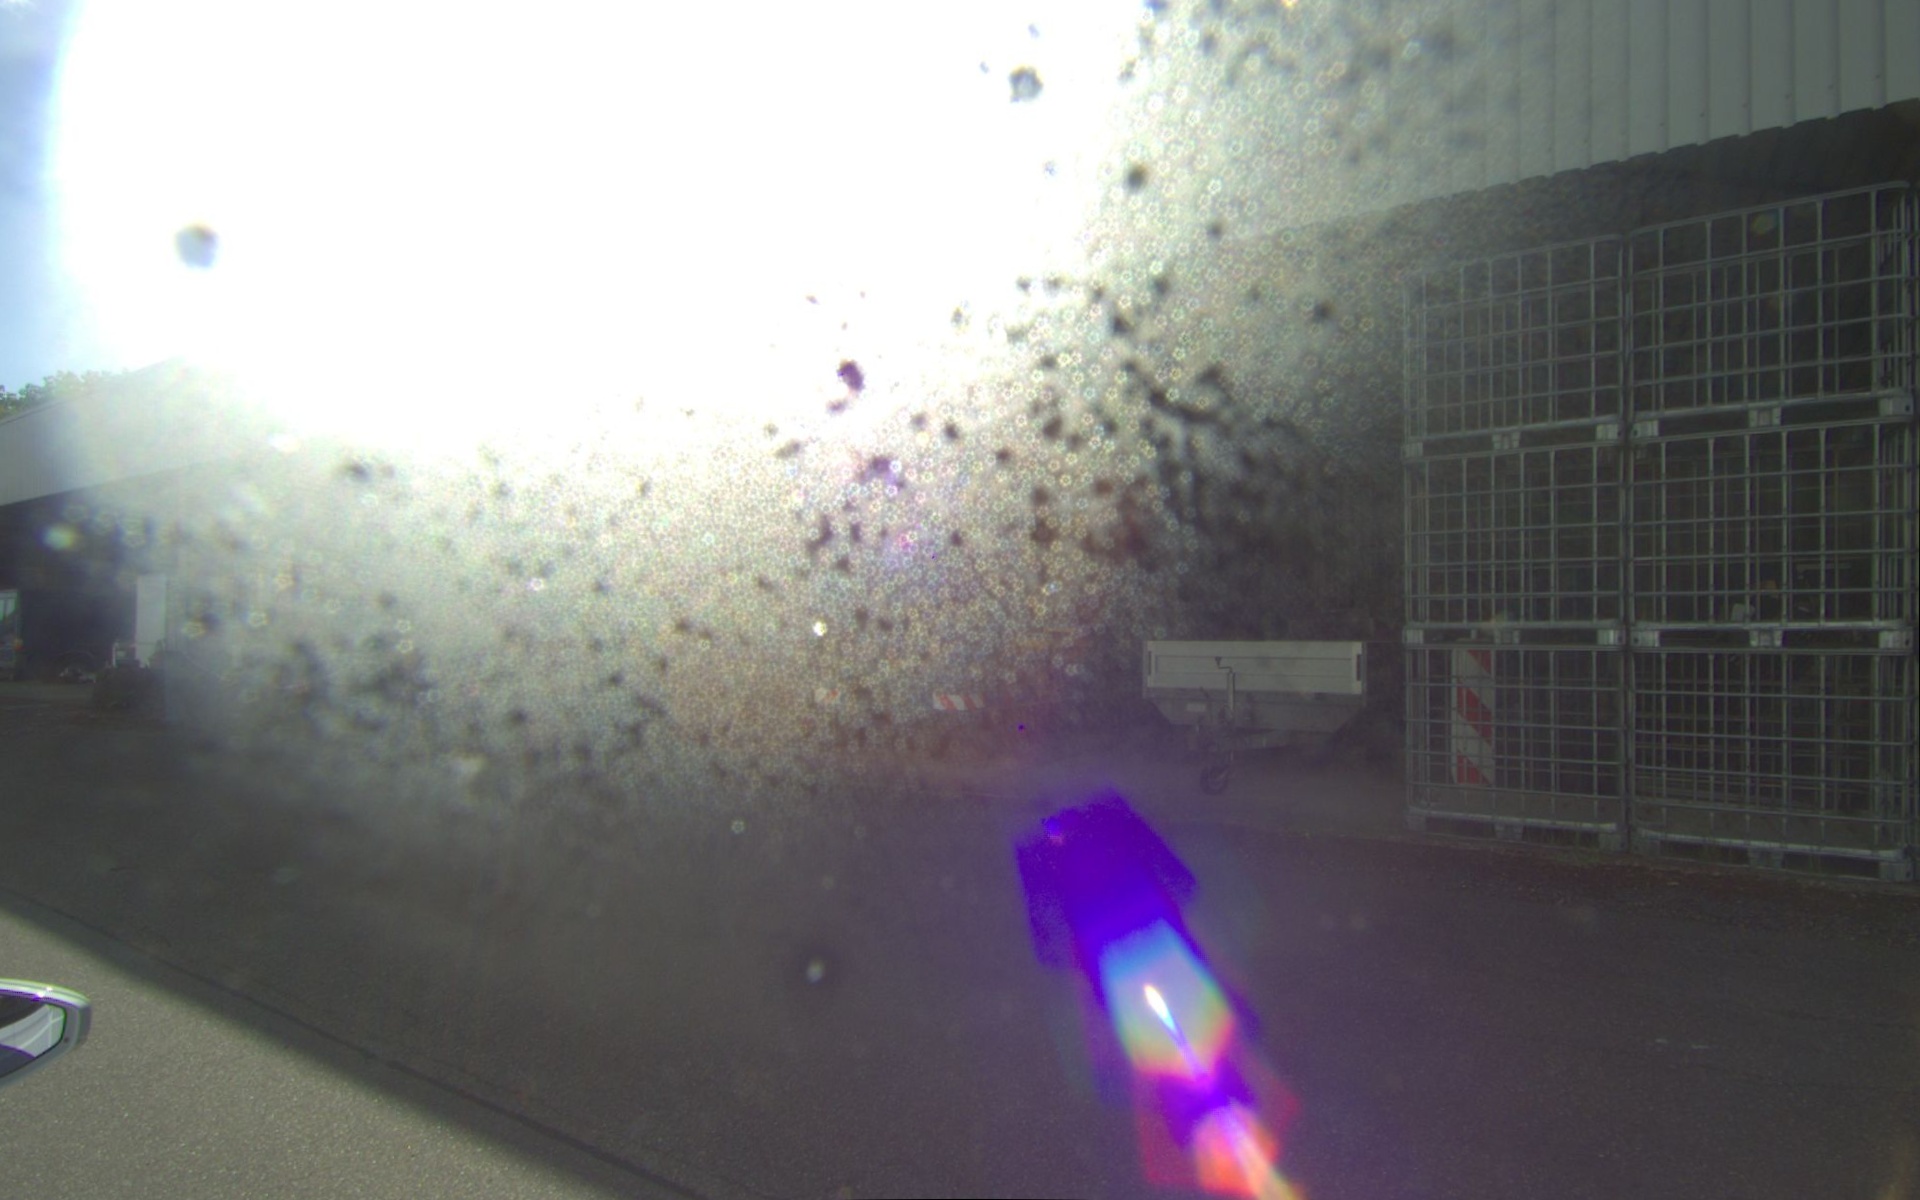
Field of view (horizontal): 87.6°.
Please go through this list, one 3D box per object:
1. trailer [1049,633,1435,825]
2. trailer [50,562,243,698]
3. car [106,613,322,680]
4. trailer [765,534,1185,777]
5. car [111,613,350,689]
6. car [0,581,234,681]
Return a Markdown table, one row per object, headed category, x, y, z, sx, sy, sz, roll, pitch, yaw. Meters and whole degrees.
| category | x | y | z | sx | sy | sz | roll | pitch | yaw |
| --- | --- | --- | --- | --- | --- | --- | --- | --- | --- |
| trailer | 3.044 | 0.927 | 9.469 | 2.110 | 1.148 | 5.839 | -1 | -1 | 30 |
| trailer | -15.711 | 0.599 | 19.411 | 1.703 | 2.429 | 2.518 | -2 | -2 | 33 |
| car | -18.659 | 1.212 | 25.231 | 1.662 | 1.543 | 4.031 | -3 | -5 | 33 |
| trailer | 0.555 | 0.527 | 11.453 | 2.049 | 2.058 | 5.753 | 0 | -1 | 33 |
| car | -16.323 | 1.191 | 22.612 | 1.662 | 1.543 | 4.031 | -3 | -5 | 33 |
| car | -21.810 | 0.889 | 25.964 | 1.890 | 2.337 | 4.425 | -3 | -4 | 33 |
